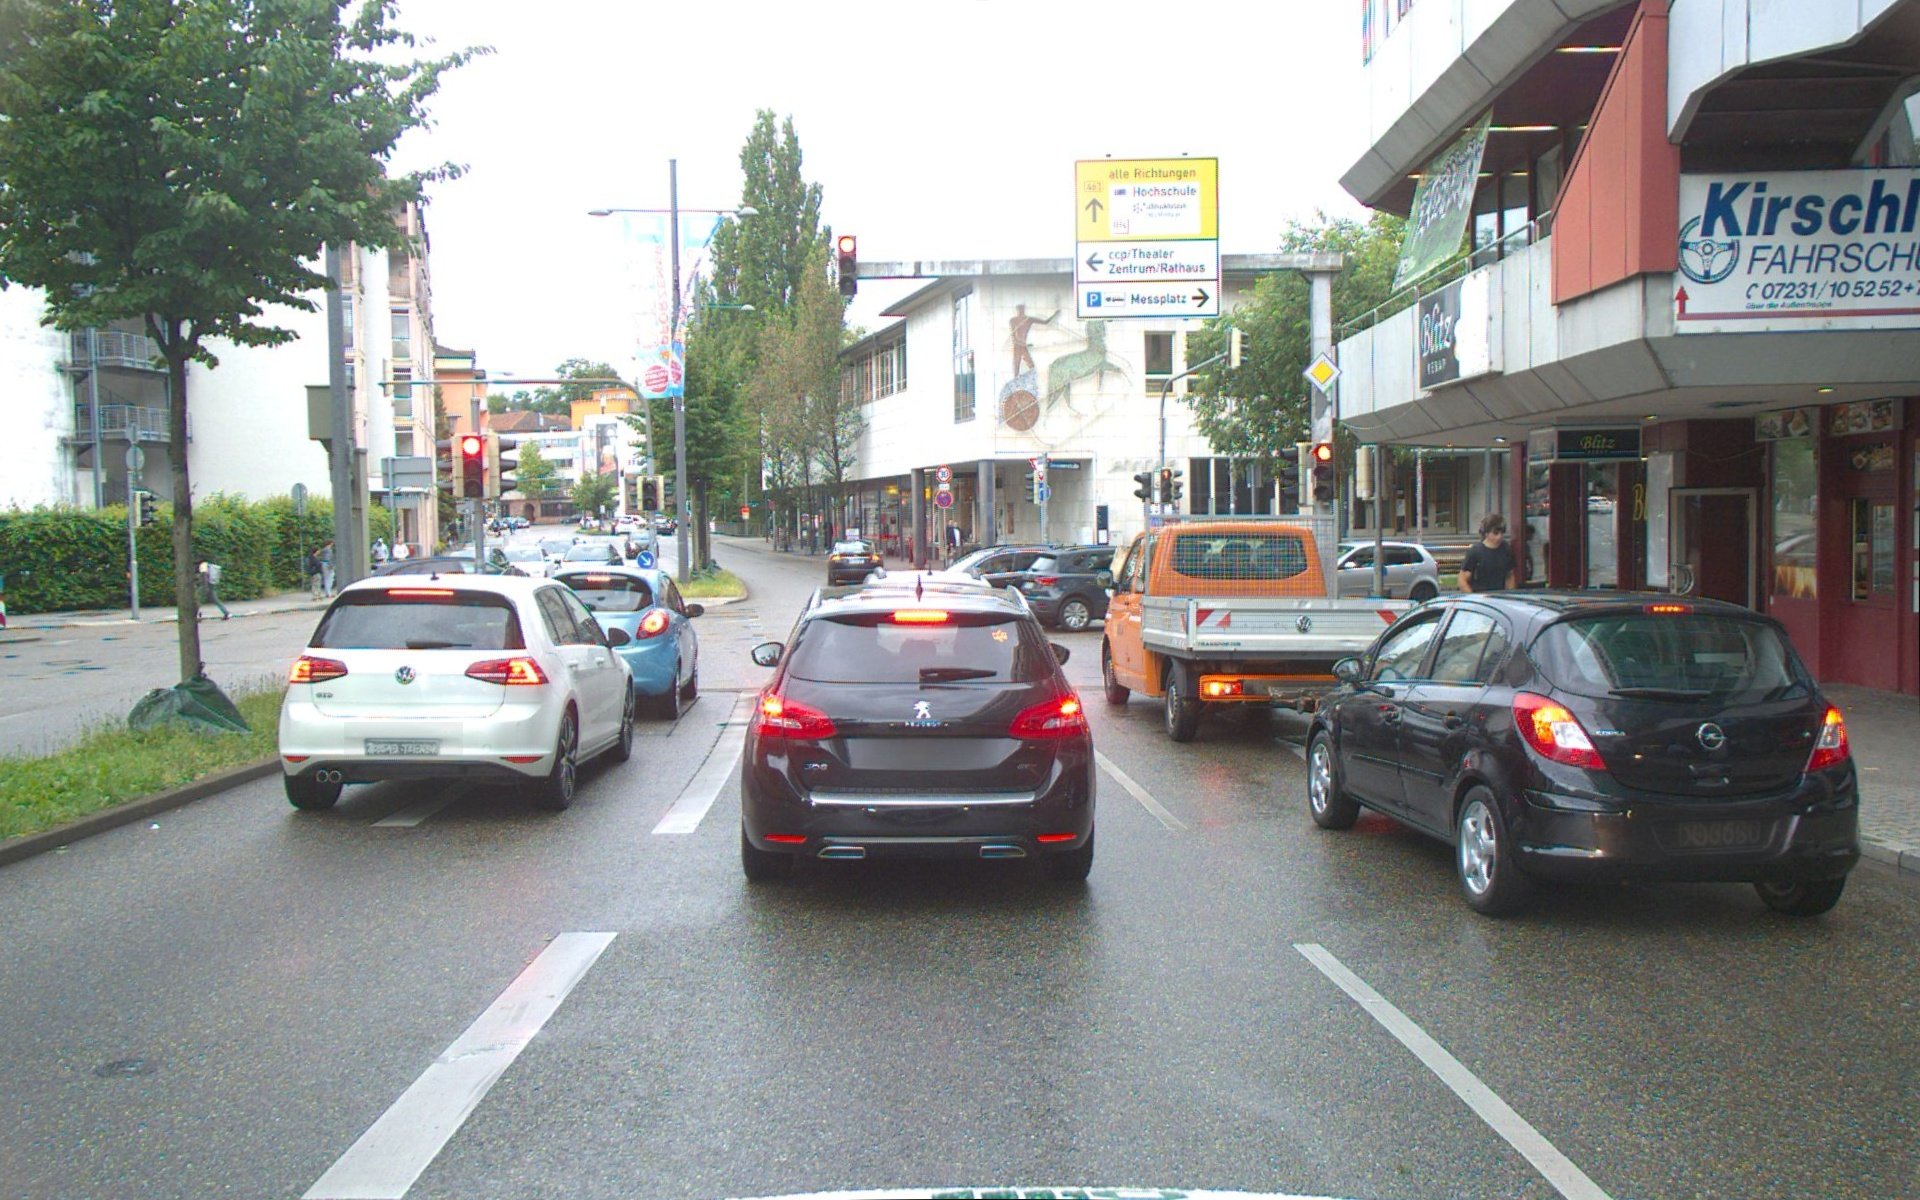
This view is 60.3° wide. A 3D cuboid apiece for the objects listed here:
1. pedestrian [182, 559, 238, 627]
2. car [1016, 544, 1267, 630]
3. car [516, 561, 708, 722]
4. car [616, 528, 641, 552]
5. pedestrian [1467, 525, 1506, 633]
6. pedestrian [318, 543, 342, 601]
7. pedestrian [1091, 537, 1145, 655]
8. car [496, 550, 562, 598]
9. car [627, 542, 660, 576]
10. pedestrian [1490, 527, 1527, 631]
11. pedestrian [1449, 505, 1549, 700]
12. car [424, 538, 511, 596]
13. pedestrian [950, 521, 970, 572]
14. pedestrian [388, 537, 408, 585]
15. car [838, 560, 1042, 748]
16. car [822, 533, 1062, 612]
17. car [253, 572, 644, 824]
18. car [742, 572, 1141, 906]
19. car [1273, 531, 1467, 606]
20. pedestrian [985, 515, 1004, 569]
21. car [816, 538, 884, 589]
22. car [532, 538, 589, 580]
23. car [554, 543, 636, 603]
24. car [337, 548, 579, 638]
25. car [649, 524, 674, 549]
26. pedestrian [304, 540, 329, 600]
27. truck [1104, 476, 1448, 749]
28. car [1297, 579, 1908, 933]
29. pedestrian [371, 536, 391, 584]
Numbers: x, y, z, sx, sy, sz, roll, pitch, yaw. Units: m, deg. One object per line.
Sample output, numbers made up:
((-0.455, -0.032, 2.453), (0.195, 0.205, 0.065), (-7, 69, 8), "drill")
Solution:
((-18.146, -0.164, 40.021), (1.041, 1.606, 0.683), (1, -1, -5), "pedestrian")
((3.386, -0.279, 31.221), (4.410, 1.480, 1.789), (-1, 3, -10), "car")
((-3.605, 0.357, 17.646), (1.601, 1.512, 3.606), (1, 2, -6), "car")
((-29.227, -5.305, 145.832), (1.679, 1.915, 3.980), (1, -1, -18), "car")
((8.463, -0.325, 26.593), (0.417, 1.712, 0.450), (-1, -1, -2), "pedestrian")
((-19.612, -0.865, 51.512), (0.528, 1.778, 0.564), (1, -1, -6), "pedestrian")
((2.333, -0.051, 24.441), (0.733, 1.710, 0.709), (1, -1, 1), "pedestrian")
((-14.133, -0.873, 54.410), (1.602, 1.512, 3.605), (1, 2, -7), "car")
((-17.285, -2.218, 90.271), (1.713, 1.669, 3.989), (1, -1, -11), "car")
((8.942, -0.339, 26.958), (0.388, 1.668, 0.504), (-1, -1, 0), "pedestrian")
((5.361, 0.023, 16.483), (0.726, 1.847, 0.774), (-4, -1, 11), "pedestrian")
((-13.611, -0.936, 45.886), (1.543, 1.512, 3.607), (1, 2, -4), "car")
((0.008, -1.910, 59.319), (0.623, 1.788, 0.734), (1, -1, 6), "pedestrian")
((-21.070, -1.469, 62.047), (0.584, 1.758, 0.655), (1, -1, -9), "pedestrian")
((-0.200, 0.405, 15.502), (1.662, 1.512, 3.793), (1, 2, -1), "car")
((-0.386, -0.557, 33.592), (4.643, 1.512, 1.632), (0, 1, -15), "car")
((-3.355, 0.549, 11.602), (1.742, 1.454, 3.840), (1, 1, -4), "car")
((-0.164, 0.589, 9.213), (1.742, 1.454, 3.840), (1, 1, -3), "car")
((8.952, -0.663, 36.232), (3.828, 1.512, 1.618), (1, -1, -13), "car")
((1.254, -2.118, 60.297), (0.623, 1.930, 0.734), (1, -1, 6), "pedestrian")
((-3.708, -1.187, 55.139), (1.694, 1.516, 4.720), (1, -1, -10), "car")
((-14.731, -1.518, 61.127), (1.602, 1.512, 3.605), (1, 2, -7), "car")
((-10.519, -0.734, 47.886), (1.710, 1.607, 3.996), (1, -1, -4), "car")
((-10.086, -0.188, 33.283), (4.434, 1.479, 1.780), (-4, 3, -25), "car")
((-26.505, -5.594, 146.849), (1.679, 1.970, 3.980), (1, -1, -18), "car")
((-19.407, -0.896, 49.898), (0.529, 1.778, 0.746), (1, -1, -9), "pedestrian")
((2.814, 0.036, 16.063), (2.133, 2.210, 5.018), (1, 2, -3), "truck")
((3.105, 0.637, 8.881), (1.584, 1.454, 3.839), (1, 1, -4), "car")
((-21.675, -1.502, 61.902), (0.584, 1.758, 0.655), (1, -1, -9), "pedestrian")
